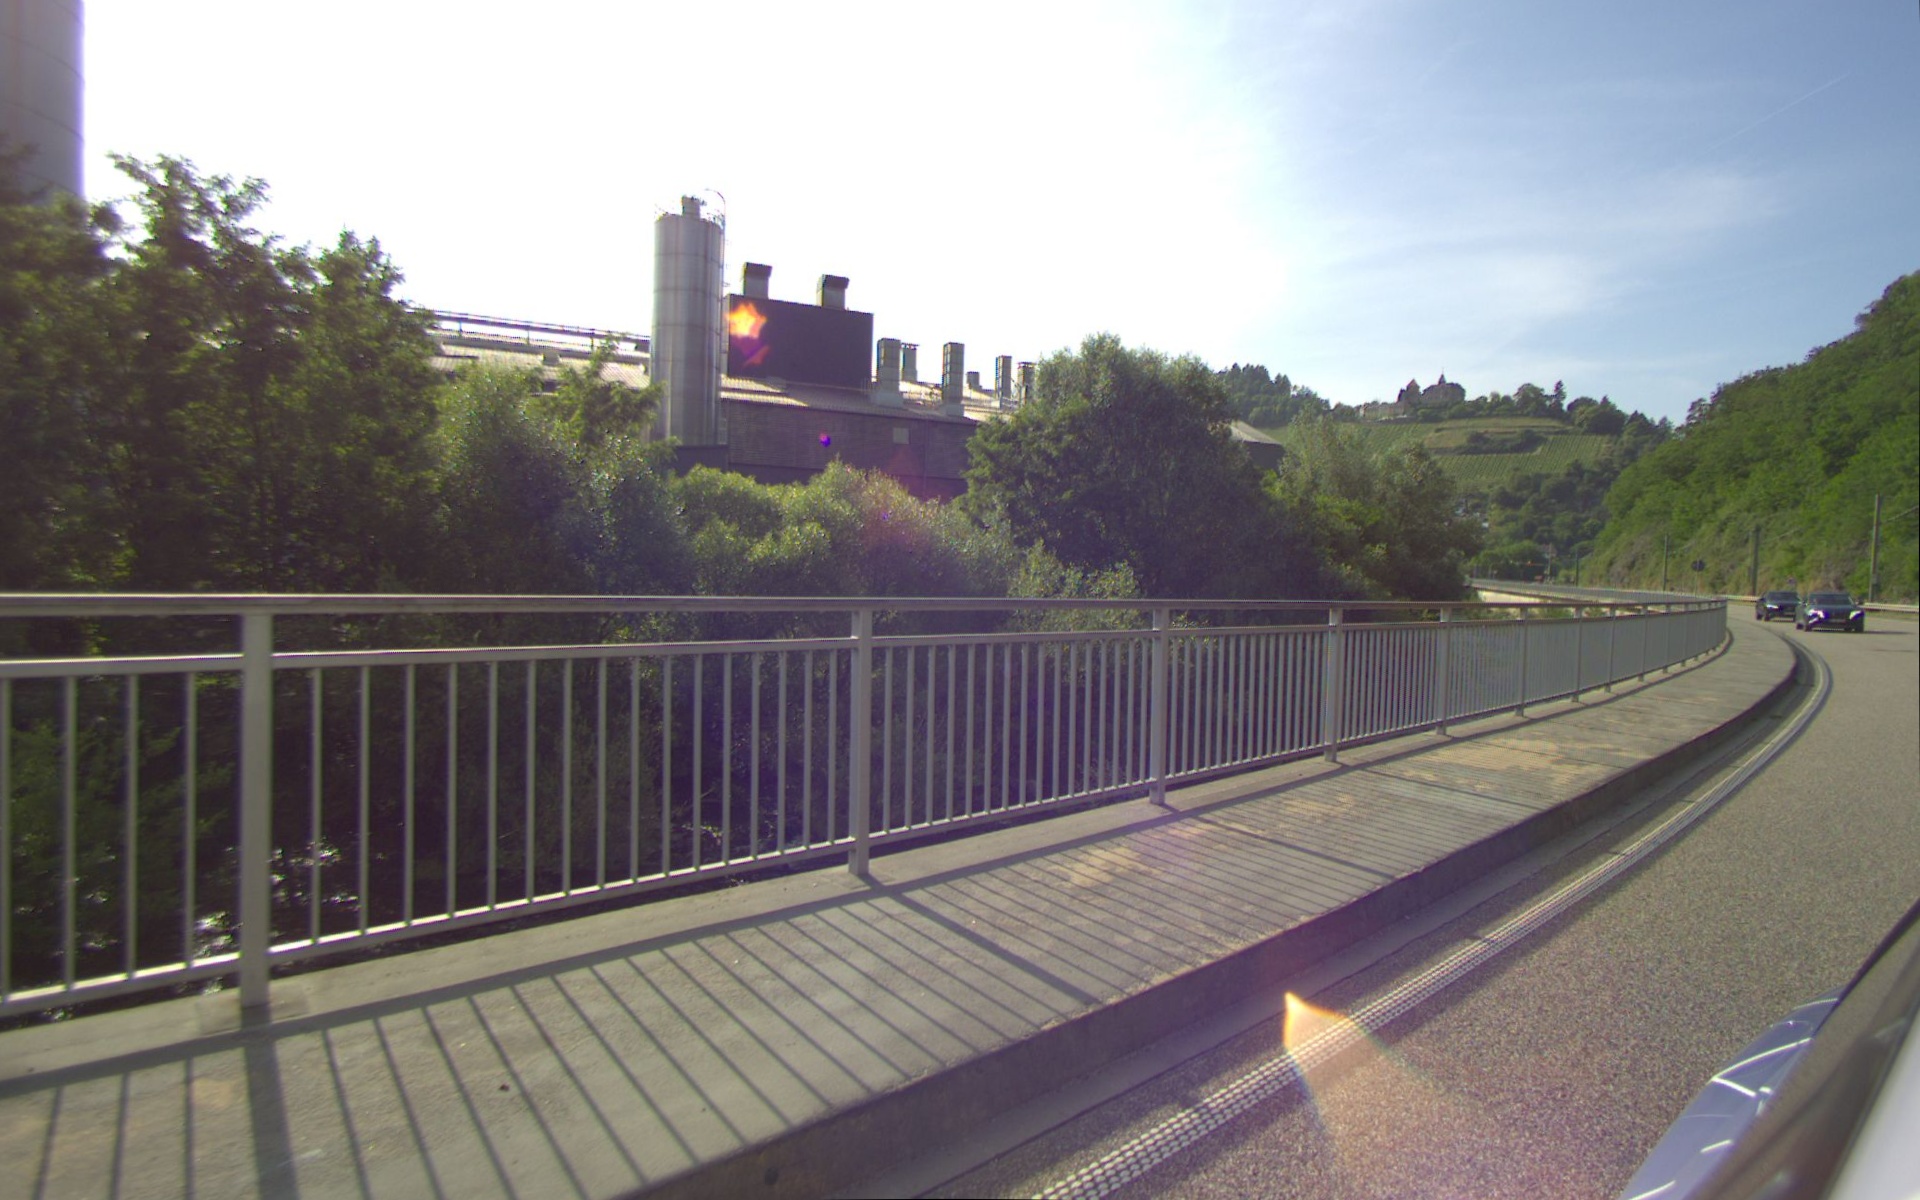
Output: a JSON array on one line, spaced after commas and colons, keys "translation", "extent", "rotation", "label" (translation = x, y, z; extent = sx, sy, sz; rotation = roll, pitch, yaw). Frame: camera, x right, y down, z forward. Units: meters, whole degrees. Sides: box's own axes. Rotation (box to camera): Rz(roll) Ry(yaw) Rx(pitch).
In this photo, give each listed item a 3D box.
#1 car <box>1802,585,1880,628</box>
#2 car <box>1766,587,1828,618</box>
[{"translation": [36.337, 0.210, 41.829], "extent": [1.851, 1.605, 3.953], "rotation": [1, 2, 33], "label": "car"}, {"translation": [44.844, 0.132, 54.300], "extent": [1.987, 1.409, 3.952], "rotation": [6, 3, 33], "label": "car"}]
